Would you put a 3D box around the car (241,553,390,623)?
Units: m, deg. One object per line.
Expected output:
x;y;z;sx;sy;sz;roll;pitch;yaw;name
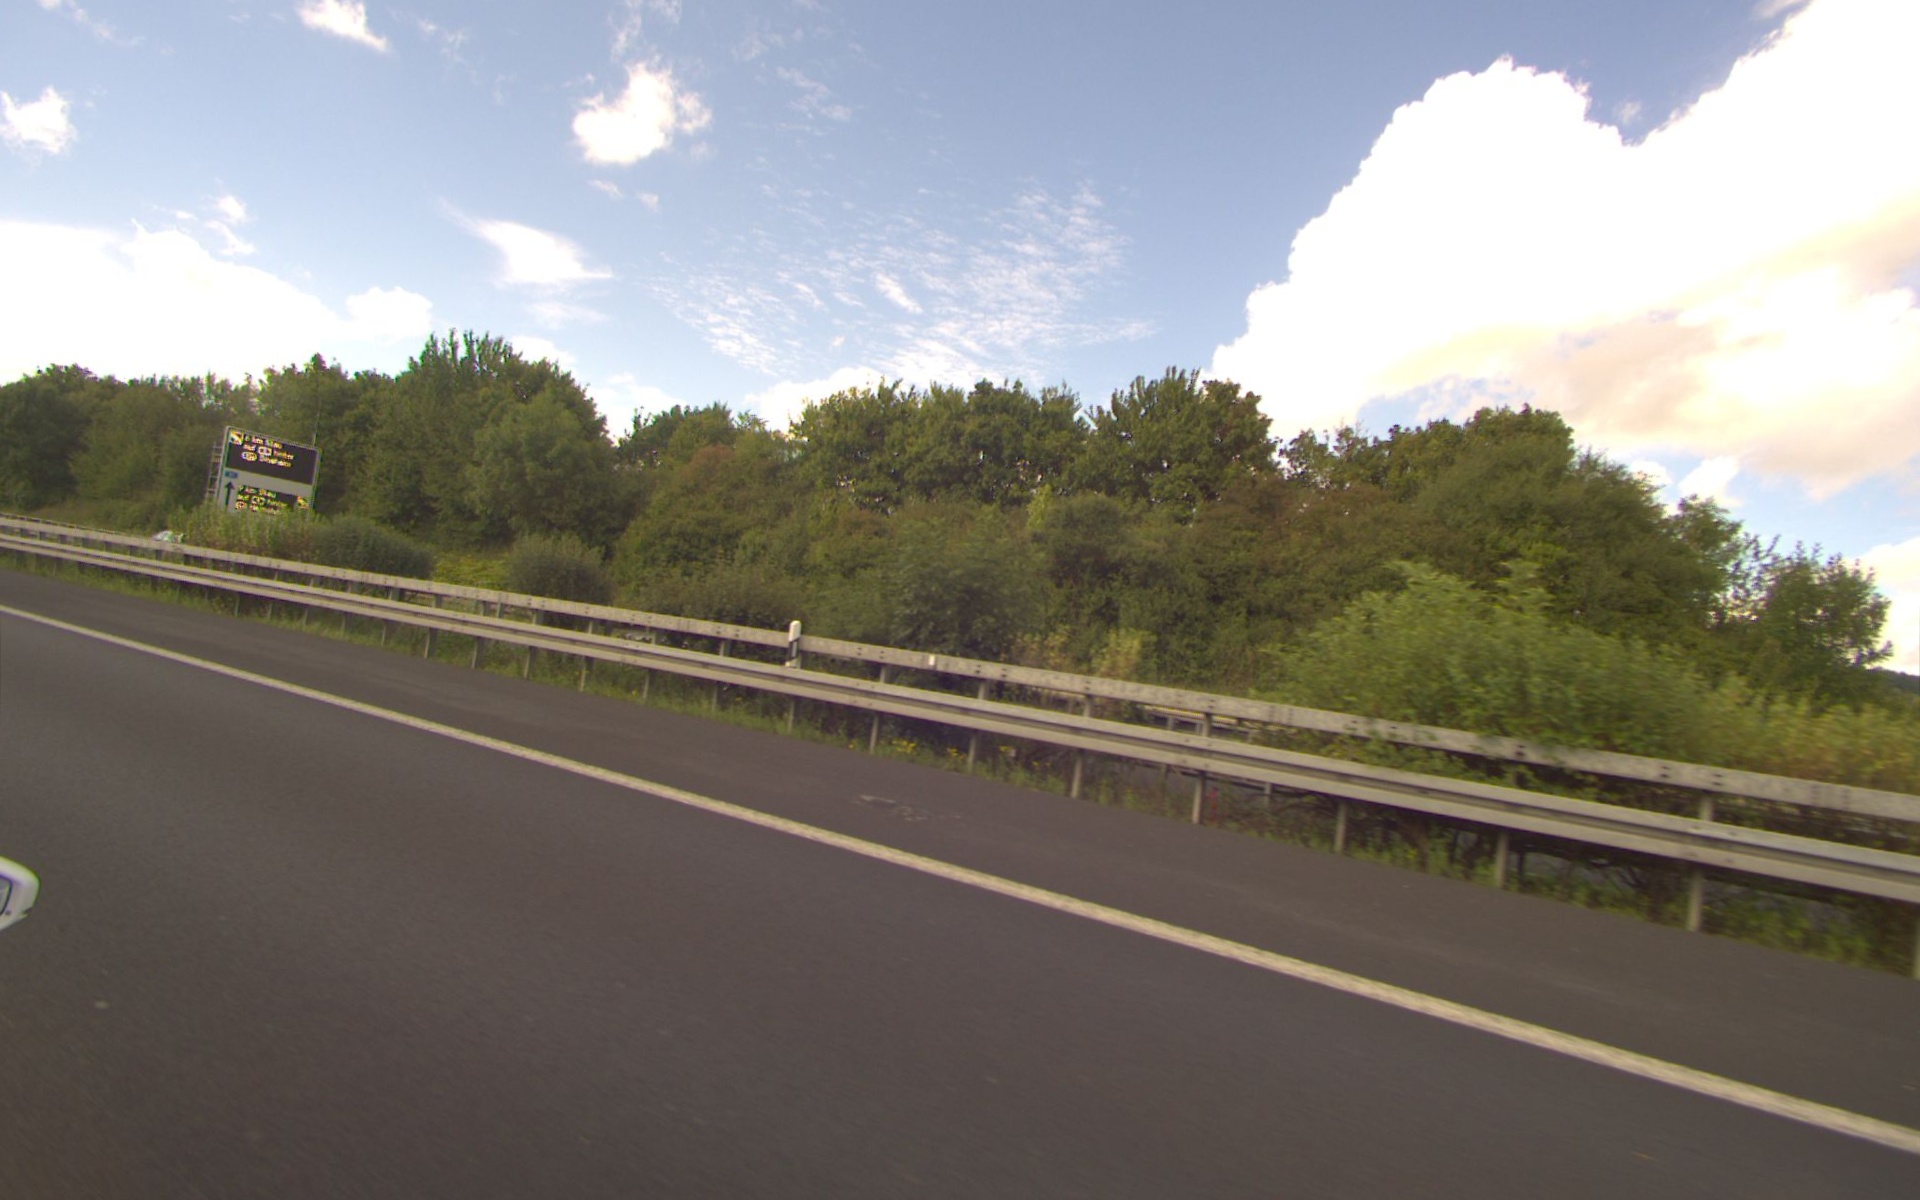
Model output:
-19.256;-0.368;30.044;3.932;1.500;2.000;6;-3;29;car

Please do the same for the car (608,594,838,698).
-4.886;0.937;20.700;4.237;1.500;2.000;6;-3;29;car
